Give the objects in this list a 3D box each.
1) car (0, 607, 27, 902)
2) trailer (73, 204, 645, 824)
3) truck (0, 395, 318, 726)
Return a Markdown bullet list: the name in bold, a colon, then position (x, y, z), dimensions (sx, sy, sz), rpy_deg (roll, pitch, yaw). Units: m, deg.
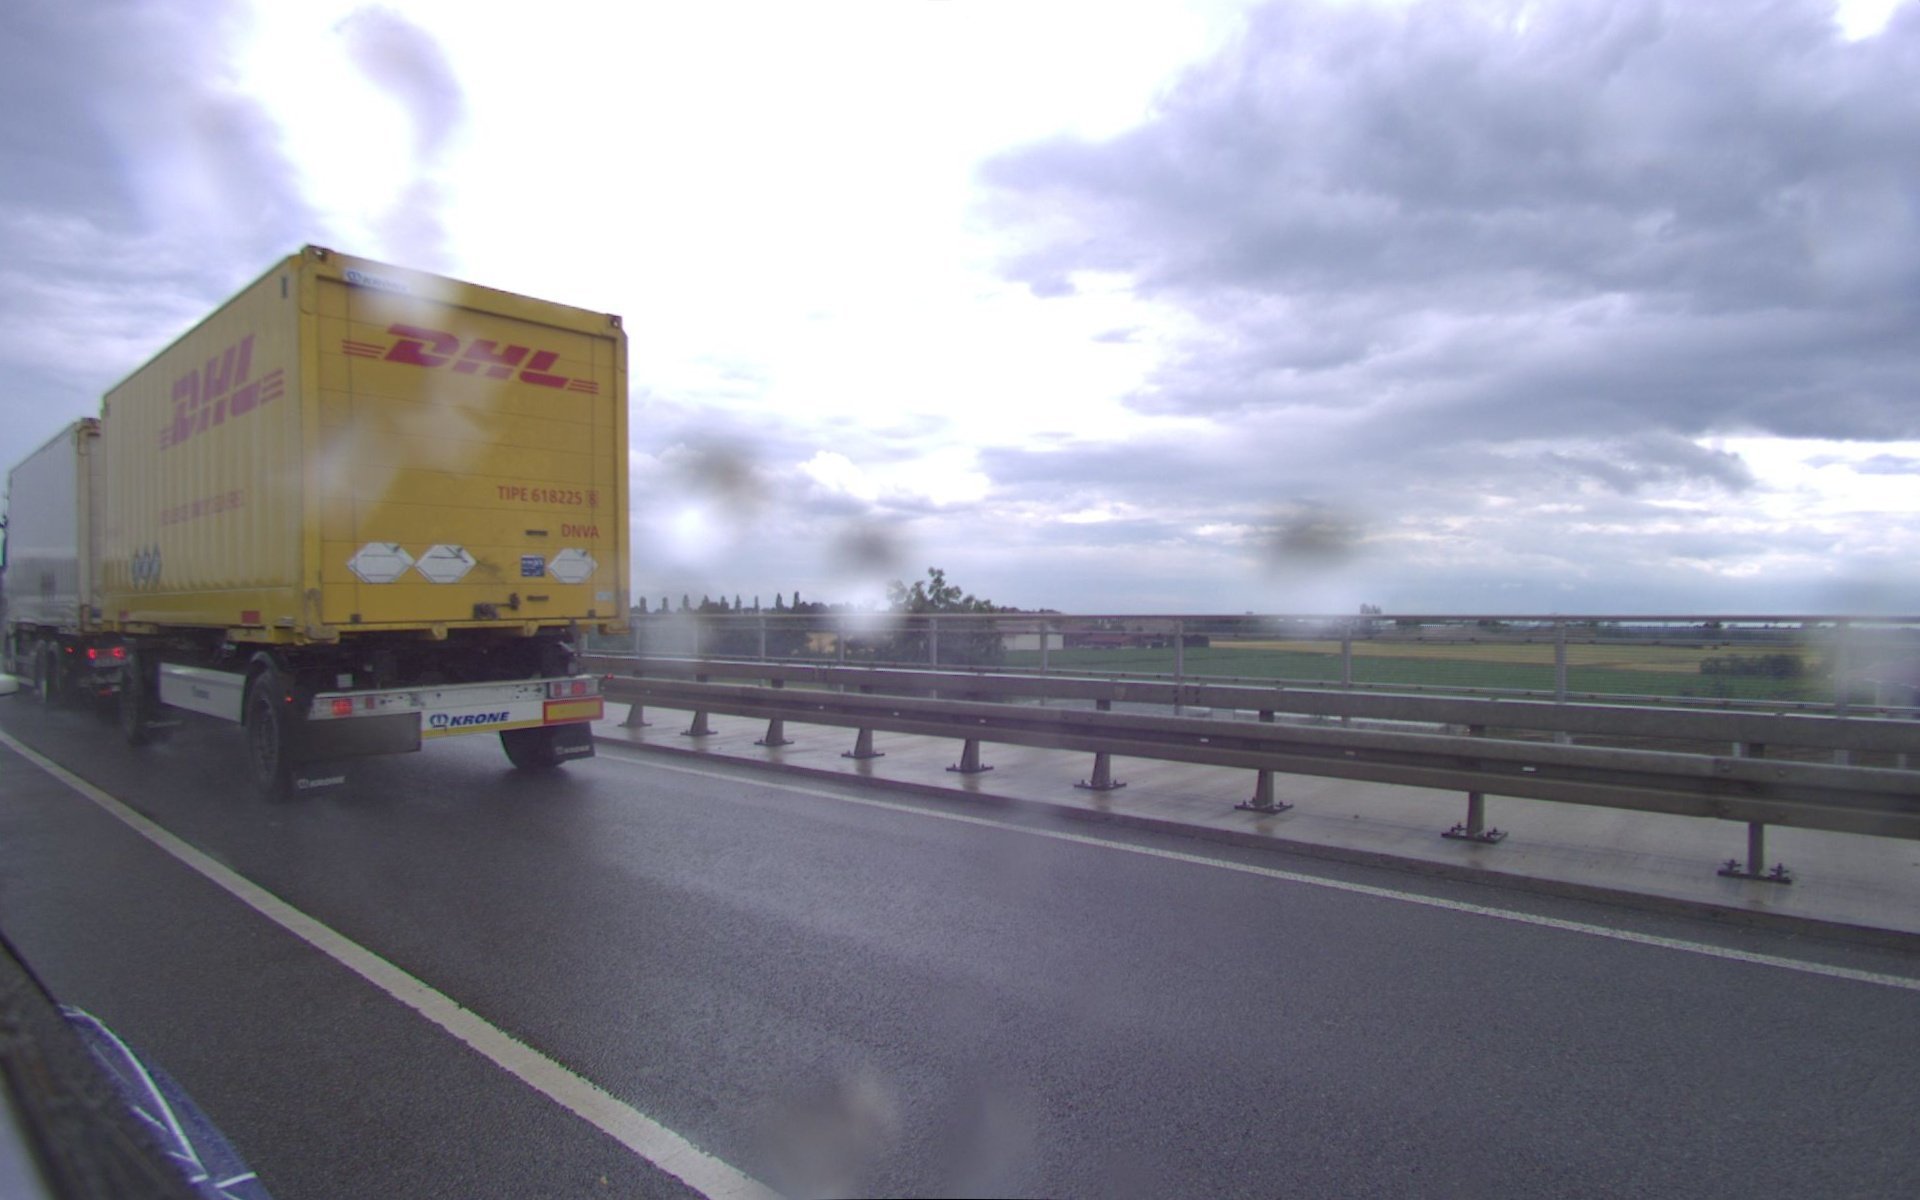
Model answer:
- **car**: position (-6.916, 0.808, 5.941), dimensions (4.127, 1.496, 1.653), rpy_deg (-1, 0, 41)
- **trailer**: position (-6.764, -0.526, 10.521), dimensions (8.482, 4.106, 2.654), rpy_deg (-1, -1, 42)
- **truck**: position (-13.747, -0.424, 16.700), dimensions (10.050, 4.047, 2.654), rpy_deg (-1, -1, 42)
